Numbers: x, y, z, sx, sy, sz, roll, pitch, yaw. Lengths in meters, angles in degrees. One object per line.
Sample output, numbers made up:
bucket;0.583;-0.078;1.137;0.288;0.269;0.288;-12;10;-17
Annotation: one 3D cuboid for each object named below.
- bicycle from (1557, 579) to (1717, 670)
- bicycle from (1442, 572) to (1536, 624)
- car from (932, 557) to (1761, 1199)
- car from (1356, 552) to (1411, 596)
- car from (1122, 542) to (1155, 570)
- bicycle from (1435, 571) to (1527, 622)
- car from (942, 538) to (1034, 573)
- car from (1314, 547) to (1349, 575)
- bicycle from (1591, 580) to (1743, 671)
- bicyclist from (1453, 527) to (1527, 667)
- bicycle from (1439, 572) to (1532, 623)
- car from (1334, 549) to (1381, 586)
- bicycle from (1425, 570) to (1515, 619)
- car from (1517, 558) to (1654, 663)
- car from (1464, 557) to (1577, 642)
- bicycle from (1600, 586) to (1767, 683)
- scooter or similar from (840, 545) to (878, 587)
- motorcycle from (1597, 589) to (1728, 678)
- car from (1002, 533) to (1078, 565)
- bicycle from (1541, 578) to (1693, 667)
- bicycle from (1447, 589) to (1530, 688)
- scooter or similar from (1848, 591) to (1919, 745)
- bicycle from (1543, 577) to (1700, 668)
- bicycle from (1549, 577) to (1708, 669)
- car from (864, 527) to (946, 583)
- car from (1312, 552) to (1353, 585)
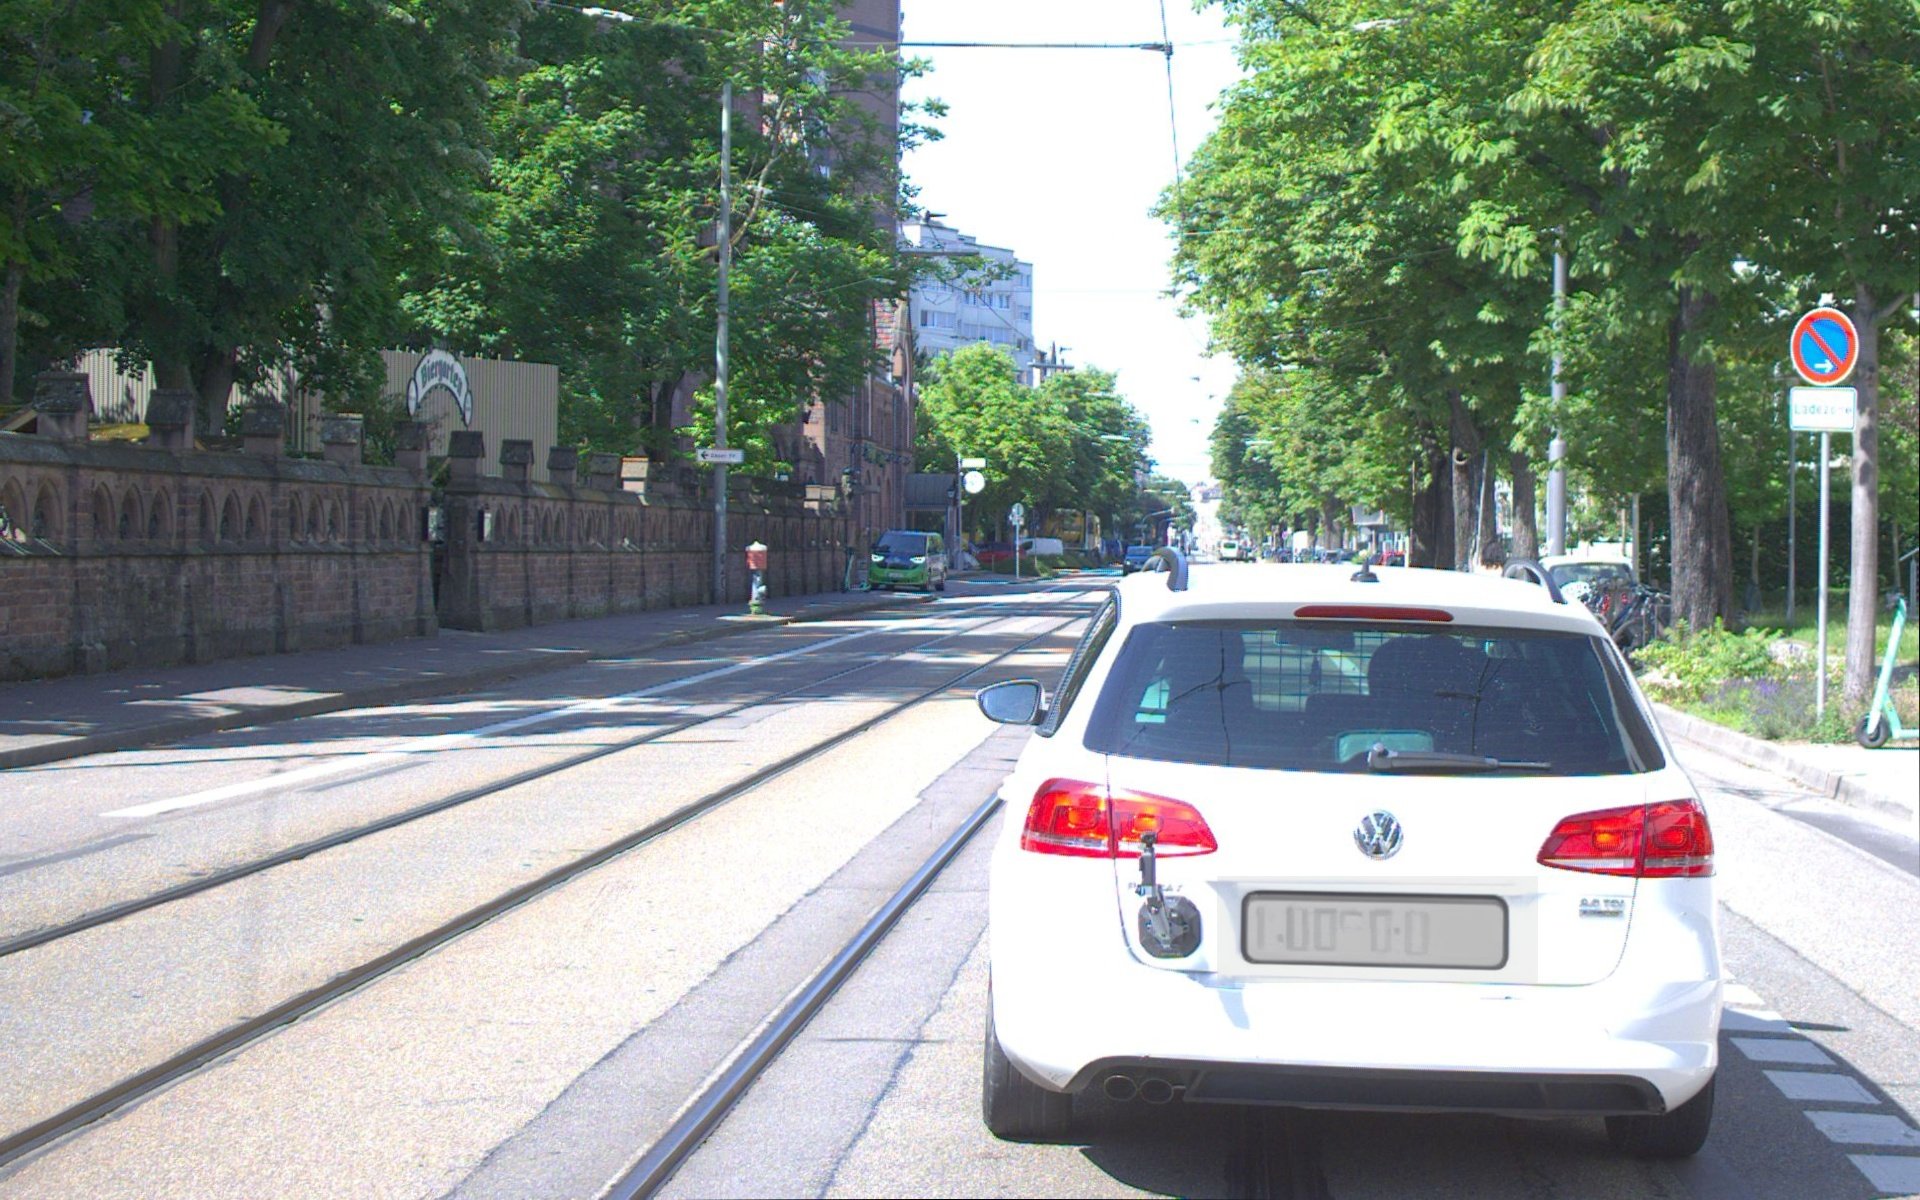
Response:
bicycle;8.708;0.312;44.265;1.912;1.079;0.551;3;1;2
bicycle;10.498;-0.039;68.296;1.787;1.007;0.488;0;1;0
car;0.967;0.609;9.556;1.754;1.437;4.412;0;1;4
car;13.655;-0.846;111.067;1.714;1.396;3.842;0;1;7
car;8.955;-2.191;171.952;1.493;1.380;3.642;0;1;5
bicycle;10.520;-0.068;69.458;1.787;1.007;0.488;0;1;0
car;1.378;-2.212;169.832;4.116;1.525;1.933;2;1;-16
car;18.986;-1.992;175.636;1.714;1.396;3.842;0;1;5
bicycle;8.838;0.313;43.001;1.774;1.116;0.596;0;1;2
bicyclist;6.190;-0.042;40.174;0.786;1.623;0.738;0;1;5
bicycle;10.519;-0.053;68.873;1.787;1.007;0.488;0;1;0
car;15.290;-1.250;132.403;1.714;1.396;3.842;0;1;5
bicycle;10.566;-0.112;71.252;1.787;1.007;0.488;0;1;0
car;9.061;0.122;50.020;1.591;1.446;3.945;1;1;5
car;10.067;-0.047;61.995;1.664;1.439;4.632;1;1;5
bicycle;8.259;0.389;39.290;1.774;1.079;0.596;0;1;2
scooter or similar;-2.787;-0.928;94.907;0.405;1.151;1.140;1;1;39
motorcycle;8.458;0.400;41.433;1.465;1.042;0.534;0;1;2
car;4.730;-3.008;203.066;3.987;1.809;2.000;0;1;-31
bicycle;8.807;0.297;46.117;1.886;1.079;0.551;3;1;2
bicycle;6.157;0.435;40.123;0.811;1.074;2.012;1;1;5
scooter or similar;7.433;0.524;26.371;1.143;1.150;0.493;1;1;11
bicycle;8.741;0.292;45.478;1.912;1.079;0.551;3;1;2
bicycle;8.715;0.295;44.866;1.912;1.079;0.551;3;1;2
car;-1.750;-1.463;110.911;1.994;1.751;4.710;0;1;7
car;16.325;-1.392;150.751;1.713;1.396;3.842;0;1;5
